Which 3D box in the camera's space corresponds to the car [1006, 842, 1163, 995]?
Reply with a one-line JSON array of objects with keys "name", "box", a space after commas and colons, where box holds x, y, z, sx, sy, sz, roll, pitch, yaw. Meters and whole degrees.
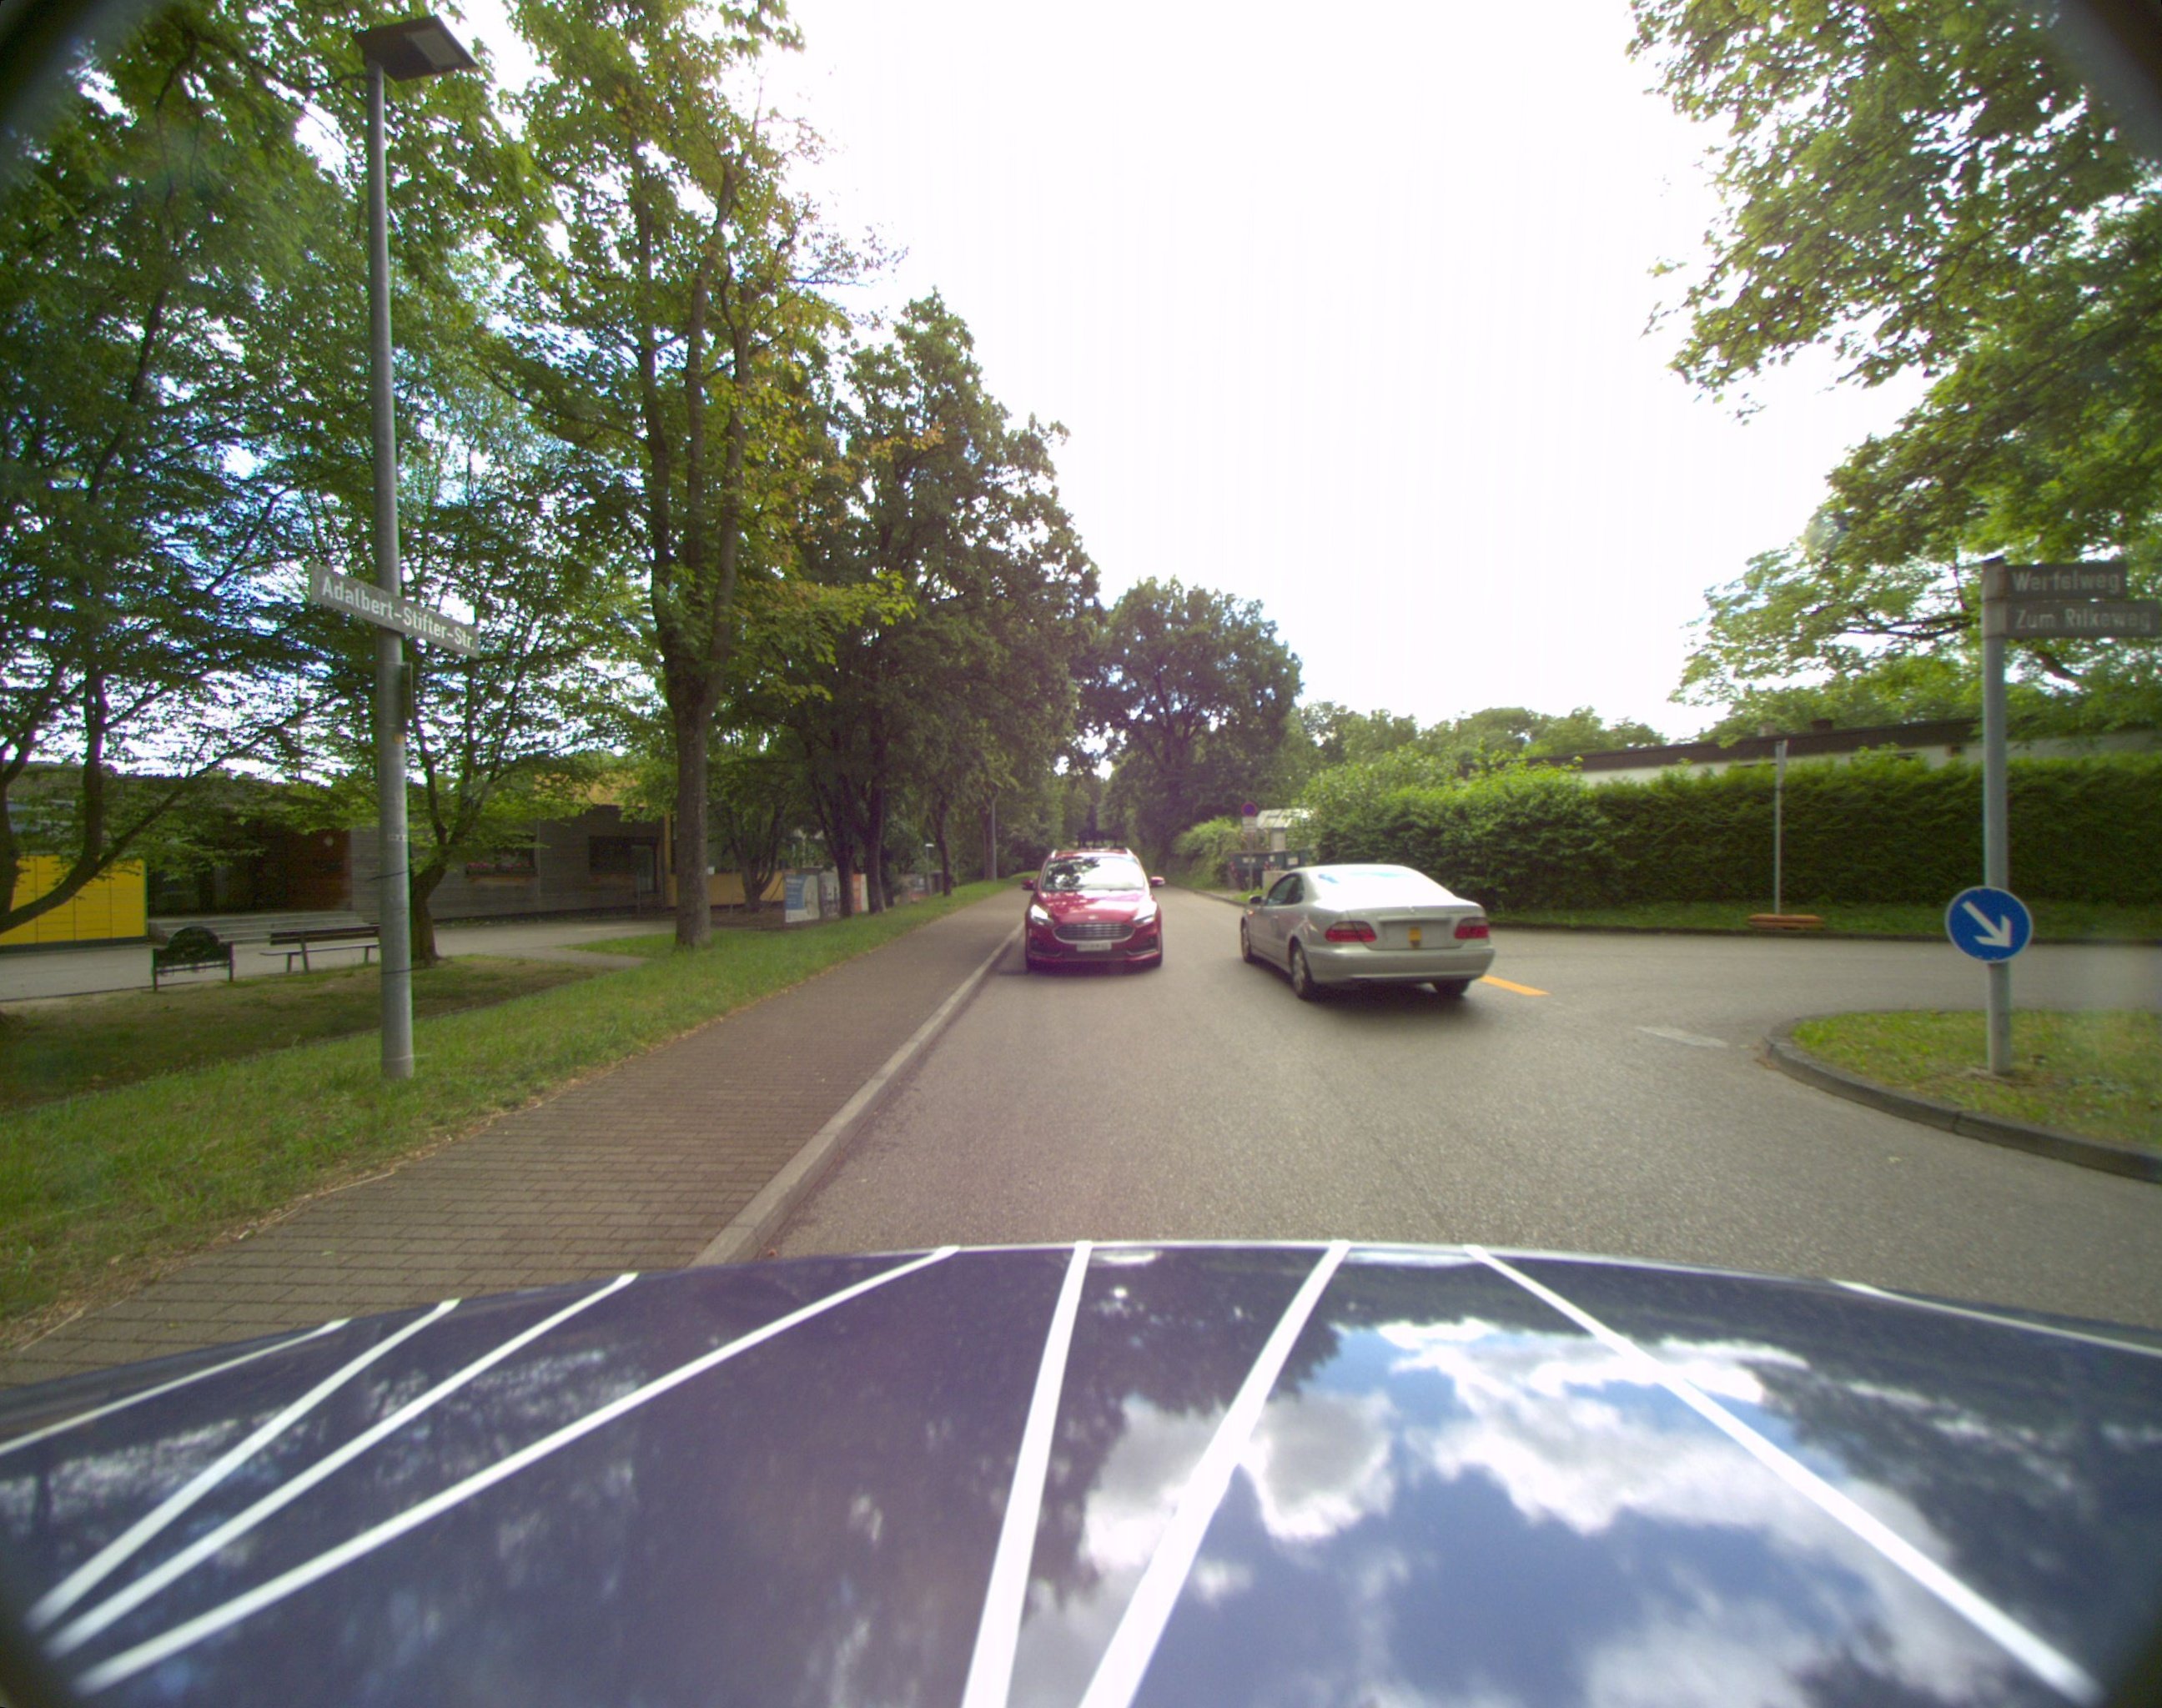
[{"name": "car", "box": [0.235, 0.724, 10.943, 1.816, 1.718, 4.001, 1, 2, 6]}]

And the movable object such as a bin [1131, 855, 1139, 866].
[{"name": "movable object such as a bin", "box": [5.316, 0.636, 74.397, 0.649, 1.007, 0.632, 1, 2, 16]}]

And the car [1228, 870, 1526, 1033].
[{"name": "car", "box": [3.020, 0.907, 8.826, 1.785, 1.299, 4.296, -2, 0, 0]}]

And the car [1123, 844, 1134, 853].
[{"name": "car", "box": [9.466, -1.133, 152.366, 1.878, 1.903, 4.430, 0, 1, 0]}]
